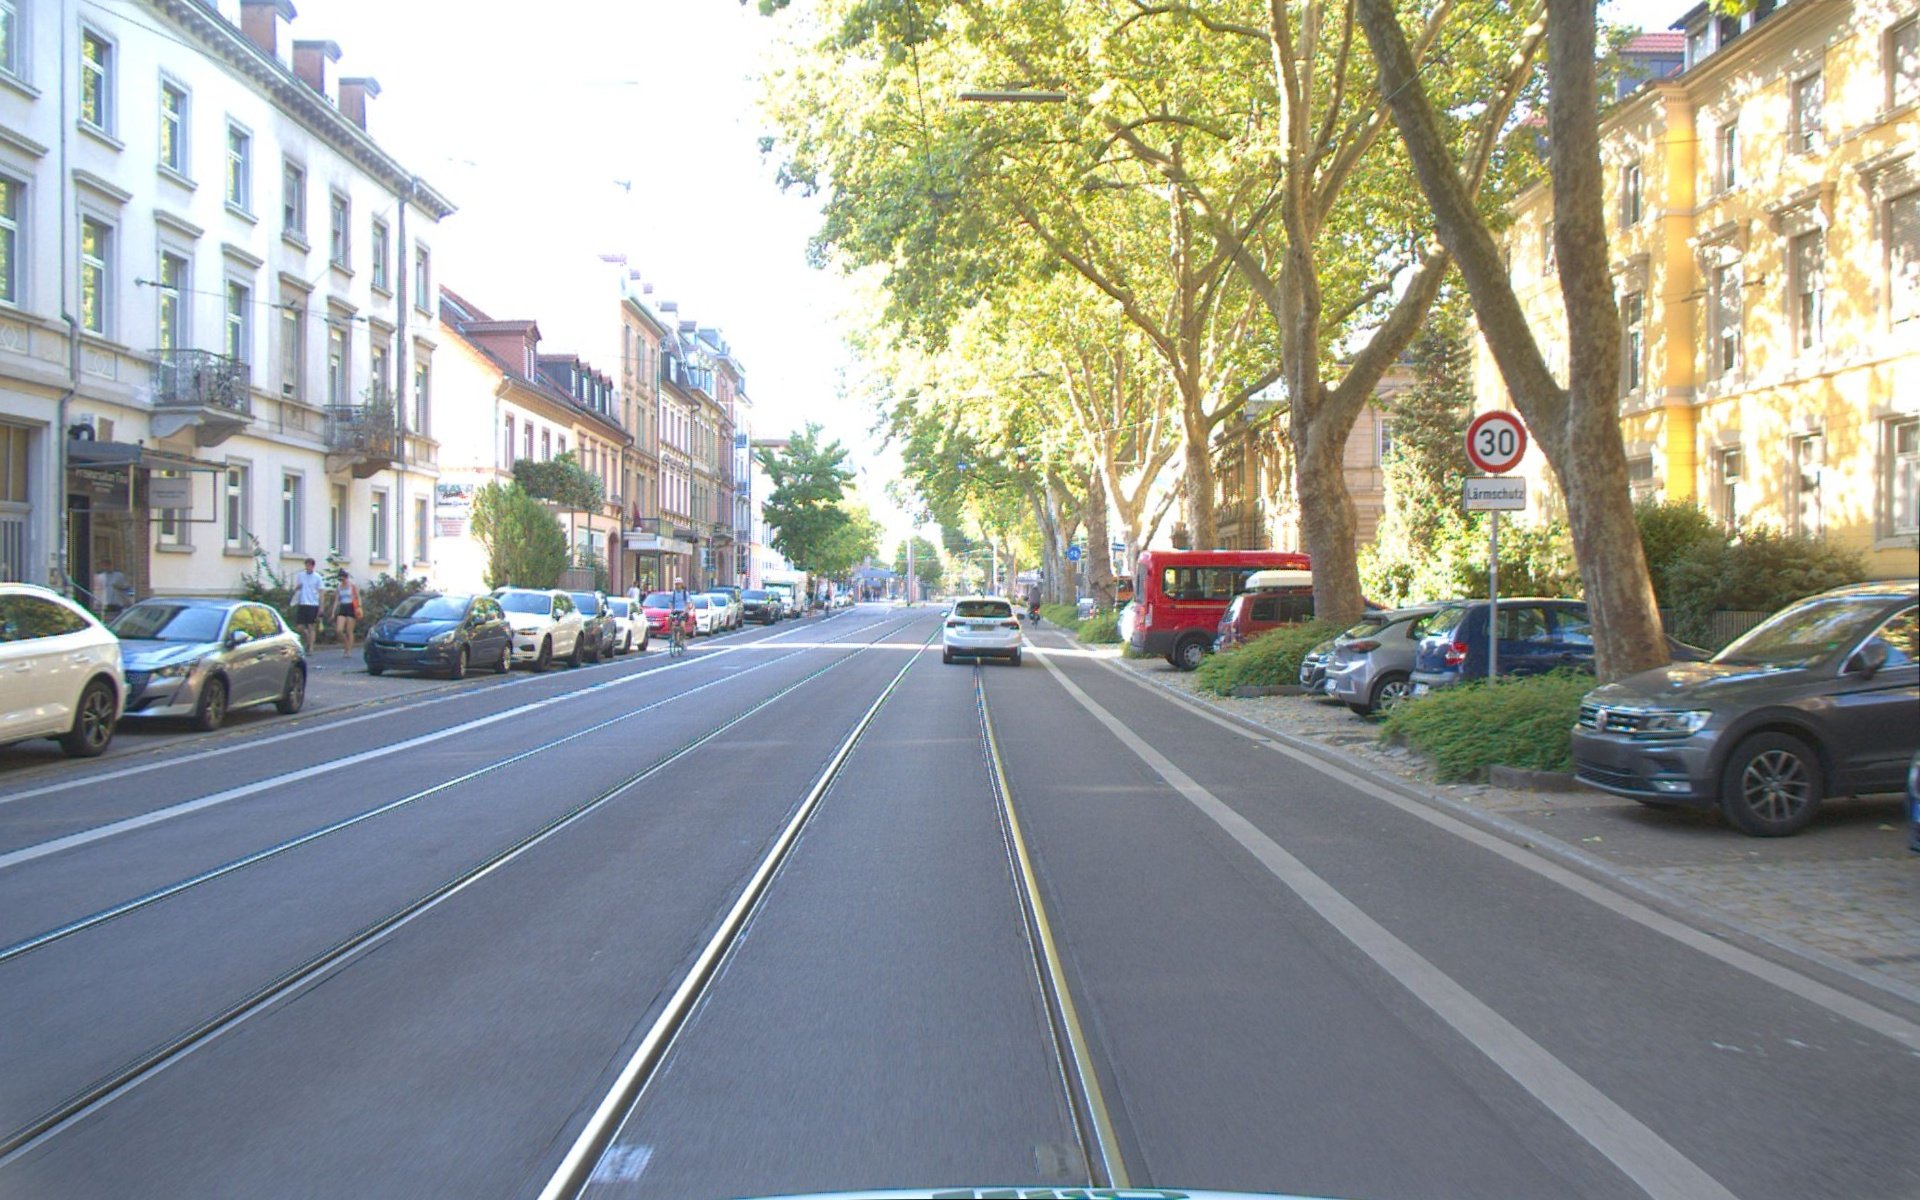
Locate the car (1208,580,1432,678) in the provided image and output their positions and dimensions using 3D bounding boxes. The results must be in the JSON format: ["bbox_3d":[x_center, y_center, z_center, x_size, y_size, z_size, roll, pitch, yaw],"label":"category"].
[{"bbox_3d":[6.708,0.537,31.077,3.742,1.678,1.766,-2,-1,-4],"label":"car"}]

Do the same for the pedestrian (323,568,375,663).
[{"bbox_3d":[-12.159,0.305,32.928,0.744,1.853,0.829,0,0,-4],"label":"pedestrian"}]

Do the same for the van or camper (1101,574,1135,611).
[{"bbox_3d":[11.082,-0.503,116.176,1.985,2.507,5.109,1,0,2],"label":"van or camper"}]

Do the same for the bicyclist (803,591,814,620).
[{"bbox_3d":[-9.011,0.323,98.231,0.524,1.663,0.896,-2,0,1],"label":"bicyclist"}]

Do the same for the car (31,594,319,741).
[{"bbox_3d":[-9.217,0.725,19.800,1.629,1.547,4.062,1,0,-3],"label":"car"}]

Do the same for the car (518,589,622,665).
[{"bbox_3d":[-9.426,0.620,40.301,1.821,1.733,4.654,0,0,-6],"label":"car"}]

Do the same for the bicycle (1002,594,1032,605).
[{"bbox_3d":[5.314,-0.058,154.484,2.711,1.017,0.593,1,0,14],"label":"bicycle"}]

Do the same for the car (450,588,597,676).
[{"bbox_3d":[-9.159,0.617,35.085,1.818,1.733,4.763,0,0,0],"label":"car"}]

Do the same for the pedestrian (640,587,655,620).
[{"bbox_3d":[-14.325,0.140,75.806,0.625,1.486,0.654,1,0,-17],"label":"pedestrian"}]

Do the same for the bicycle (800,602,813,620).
[{"bbox_3d":[-9.080,0.633,98.016,0.474,1.065,2.040,-2,0,1],"label":"bicycle"}]

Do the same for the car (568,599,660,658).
[{"bbox_3d":[-9.515,0.739,45.714,1.652,1.502,4.257,1,0,-1],"label":"car"}]

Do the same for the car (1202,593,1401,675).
[{"bbox_3d":[6.903,0.662,33.678,3.660,1.556,1.668,-1,0,-4],"label":"car"}]

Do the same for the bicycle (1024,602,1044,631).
[{"bbox_3d":[3.095,0.663,69.041,0.666,1.175,2.964,1,0,0],"label":"bicycle"}]

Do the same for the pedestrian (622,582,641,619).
[{"bbox_3d":[-15.007,0.035,75.570,0.759,1.662,0.654,1,0,-16],"label":"pedestrian"}]

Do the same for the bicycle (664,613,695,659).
[{"bbox_3d":[-7.016,0.890,41.427,0.471,1.105,1.846,0,0,0],"label":"bicycle"}]

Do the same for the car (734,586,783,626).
[{"bbox_3d":[-10.085,0.286,83.112,1.925,1.812,4.935,3,0,-2],"label":"car"}]

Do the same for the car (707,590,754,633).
[{"bbox_3d":[-9.840,0.487,71.026,1.524,1.762,3.684,1,0,-1],"label":"car"}]

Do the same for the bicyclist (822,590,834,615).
[{"bbox_3d":[-8.267,0.131,103.240,0.625,1.529,1.070,-1,0,1],"label":"bicyclist"}]

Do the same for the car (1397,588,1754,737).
[{"bbox_3d":[6.968,0.695,18.951,3.522,1.627,1.540,0,-1,-1],"label":"car"}]

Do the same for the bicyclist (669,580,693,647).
[{"bbox_3d":[-7.003,0.340,41.591,0.463,1.664,0.800,0,0,0],"label":"bicyclist"}]

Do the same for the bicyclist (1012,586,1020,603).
[{"bbox_3d":[5.231,-0.494,154.527,0.721,1.617,0.587,0,0,12],"label":"bicyclist"}]

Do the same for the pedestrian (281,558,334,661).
[{"bbox_3d":[-13.034,0.186,33.071,0.744,2.049,0.829,0,0,-3],"label":"pedestrian"}]

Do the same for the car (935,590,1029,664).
[{"bbox_3d":[0.432,0.559,36.119,1.805,1.506,3.836,1,0,-3],"label":"car"}]

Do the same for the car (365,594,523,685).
[{"bbox_3d":[-9.308,0.662,30.129,1.522,1.542,3.925,0,0,2],"label":"car"}]

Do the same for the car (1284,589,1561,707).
[{"bbox_3d":[6.818,0.680,24.609,3.596,1.550,1.693,-2,0,-1],"label":"car"}]

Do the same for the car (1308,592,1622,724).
[{"bbox_3d":[6.457,0.721,21.412,3.522,1.544,1.693,-2,0,-1],"label":"car"}]

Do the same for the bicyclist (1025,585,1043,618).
[{"bbox_3d":[3.092,0.049,69.122,0.665,1.362,0.525,1,0,-1],"label":"bicyclist"}]

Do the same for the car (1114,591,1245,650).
[{"bbox_3d":[6.555,0.607,49.632,3.675,1.534,1.681,3,0,0],"label":"car"}]

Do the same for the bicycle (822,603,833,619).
[{"bbox_3d":[-8.277,0.663,103.372,0.488,0.959,1.922,-2,0,1],"label":"bicycle"}]

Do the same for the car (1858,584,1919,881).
[{"bbox_3d":[7.368,0.719,9.118,3.947,1.672,1.680,-1,0,-3],"label":"car"}]

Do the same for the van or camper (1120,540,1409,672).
[{"bbox_3d":[6.480,0.099,35.650,5.699,2.563,2.287,-2,1,-3],"label":"van or camper"}]

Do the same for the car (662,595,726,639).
[{"bbox_3d":[-9.856,0.597,61.521,1.790,1.529,4.686,1,0,-3],"label":"car"}]

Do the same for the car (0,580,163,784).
[{"bbox_3d":[-9.112,0.684,14.724,1.750,1.753,4.718,1,0,-1],"label":"car"}]

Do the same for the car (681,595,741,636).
[{"bbox_3d":[-9.967,0.592,66.544,1.790,1.529,4.448,1,0,-1],"label":"car"}]

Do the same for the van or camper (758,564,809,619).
[{"bbox_3d":[-10.733,-0.491,101.175,2.171,3.195,7.114,1,0,1],"label":"van or camper"}]

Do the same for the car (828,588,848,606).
[{"bbox_3d":[-12.162,-0.299,164.639,1.758,1.756,3.783,1,0,-2],"label":"car"}]

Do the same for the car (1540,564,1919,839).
[{"bbox_3d":[6.696,0.638,12.141,4.177,1.749,1.848,-2,0,-3],"label":"car"}]

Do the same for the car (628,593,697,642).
[{"bbox_3d":[-10.002,0.576,55.783,1.536,1.590,3.450,0,0,3],"label":"car"}]
